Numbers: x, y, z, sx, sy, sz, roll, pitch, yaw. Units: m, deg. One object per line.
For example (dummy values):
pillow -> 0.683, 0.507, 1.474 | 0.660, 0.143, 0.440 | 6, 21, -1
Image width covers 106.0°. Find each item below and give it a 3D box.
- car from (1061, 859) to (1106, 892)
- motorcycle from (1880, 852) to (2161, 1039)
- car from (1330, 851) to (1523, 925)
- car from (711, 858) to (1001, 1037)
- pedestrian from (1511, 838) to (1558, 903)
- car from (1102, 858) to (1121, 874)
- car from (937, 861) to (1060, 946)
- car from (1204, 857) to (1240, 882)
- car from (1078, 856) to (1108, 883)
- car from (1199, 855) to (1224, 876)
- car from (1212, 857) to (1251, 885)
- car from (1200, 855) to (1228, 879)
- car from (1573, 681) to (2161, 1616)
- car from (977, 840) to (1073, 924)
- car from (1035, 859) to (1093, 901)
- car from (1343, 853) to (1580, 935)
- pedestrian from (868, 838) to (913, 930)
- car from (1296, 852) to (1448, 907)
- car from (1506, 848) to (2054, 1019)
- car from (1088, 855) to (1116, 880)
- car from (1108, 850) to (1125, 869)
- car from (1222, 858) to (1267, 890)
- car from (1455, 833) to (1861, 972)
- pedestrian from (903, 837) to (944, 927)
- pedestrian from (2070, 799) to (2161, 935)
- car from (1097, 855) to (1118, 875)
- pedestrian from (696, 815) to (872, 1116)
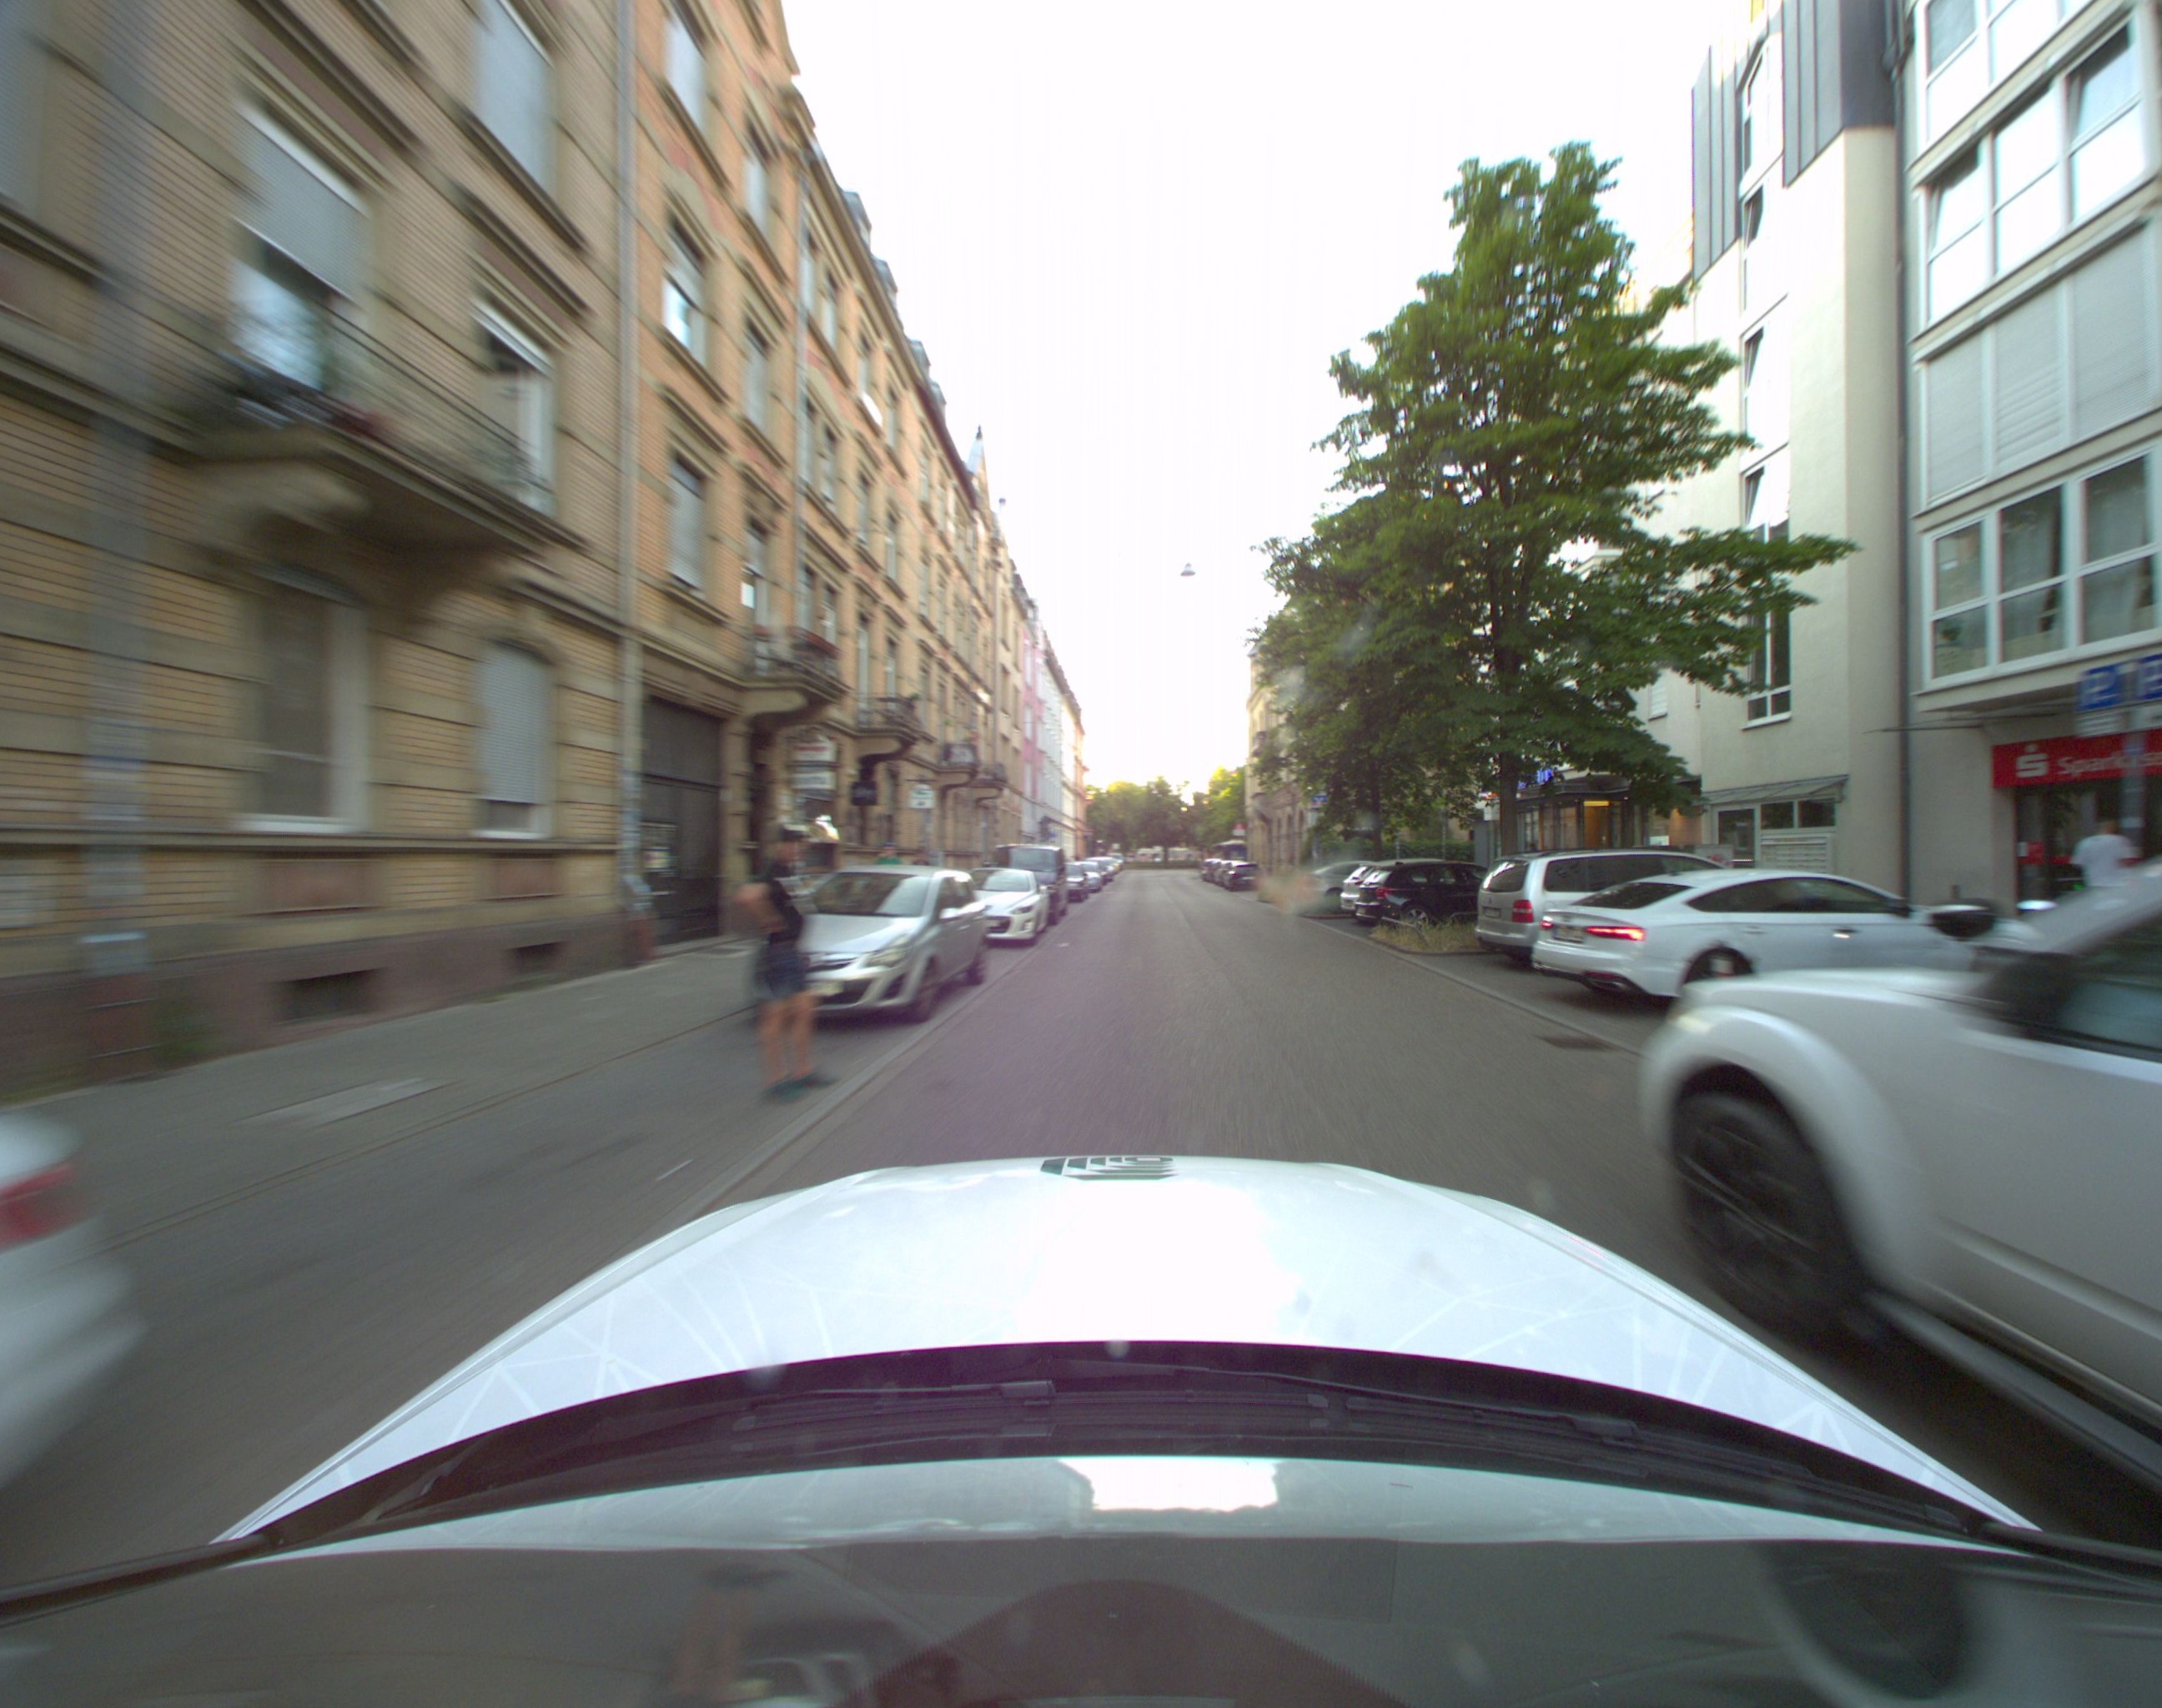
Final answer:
car -> 0.182, 1.007, 40.145 | 1.825, 1.458, 4.212 | 2, 0, 5
motorcycle -> 8.017, 0.717, 6.740 | 2.050, 1.369, 0.717 | -3, 0, 0
car -> 8.059, 0.766, 19.235 | 3.782, 1.452, 1.735 | -3, 0, -1
car -> -2.147, 0.806, 9.010 | 1.708, 1.457, 4.006 | 1, 0, 6
pedestrian -> 12.360, 0.446, 22.241 | 0.724, 1.716, 0.964 | -2, -1, 5
car -> 2.912, 1.141, 78.171 | 1.692, 1.426, 4.024 | 1, 0, 2
car -> -1.512, 0.883, 16.536 | 1.776, 1.423, 4.488 | 2, 0, 3
car -> 9.178, 0.983, 53.074 | 1.670, 1.456, 3.801 | -3, -1, 1
car -> 0.787, 0.905, 49.706 | 1.629, 1.565, 3.785 | 1, 0, 4
car -> 10.206, 0.881, 63.939 | 1.668, 1.501, 4.024 | -3, -1, 6
car -> 8.715, 0.940, 47.519 | 1.669, 1.456, 4.234 | -3, -1, 4
car -> 9.457, 0.898, 57.917 | 1.668, 1.501, 3.907 | -3, -1, 6
car -> 3.054, 0.576, 1.120 | 1.902, 1.853, 5.276 | 0, -1, 4
car -> -1.341, 0.664, 21.644 | 1.985, 1.924, 4.953 | 2, 0, 2
car -> -0.564, 0.937, 30.985 | 1.729, 1.418, 4.783 | 1, -1, 4
car -> 7.657, 0.774, 16.693 | 3.971, 1.456, 1.829 | -2, 0, 2
pedestrian -> -3.833, 0.582, 16.419 | 0.578, 1.771, 0.998 | 3, 0, 0
car -> 8.923, 0.776, 25.292 | 4.065, 1.452, 1.886 | -3, 0, 6
car -> 7.245, 0.768, 8.760 | 4.411, 1.455, 1.778 | -2, 0, -2
car -> 1.462, 0.890, 56.155 | 1.838, 1.659, 4.254 | -1, 0, 2
car -> 3.985, 0.631, 92.232 | 1.805, 1.977, 4.186 | 1, 0, 0
car -> 8.260, 0.989, 41.486 | 1.668, 1.429, 4.484 | -4, -1, 5
car -> 7.884, 0.647, 11.491 | 4.379, 1.647, 1.748 | -2, 0, 4
pedestrian -> -3.213, 0.552, 16.664 | 0.603, 1.772, 0.777 | 3, 0, 0
pedestrian -> 13.849, 0.172, 10.842 | 0.623, 1.753, 0.587 | 0, -2, 0
car -> 2.369, 0.952, 71.932 | 1.691, 1.621, 4.026 | 1, 0, 4
pedestrian -> -1.894, 0.659, 5.319 | 0.550, 1.755, 1.026 | 0, -2, 15
